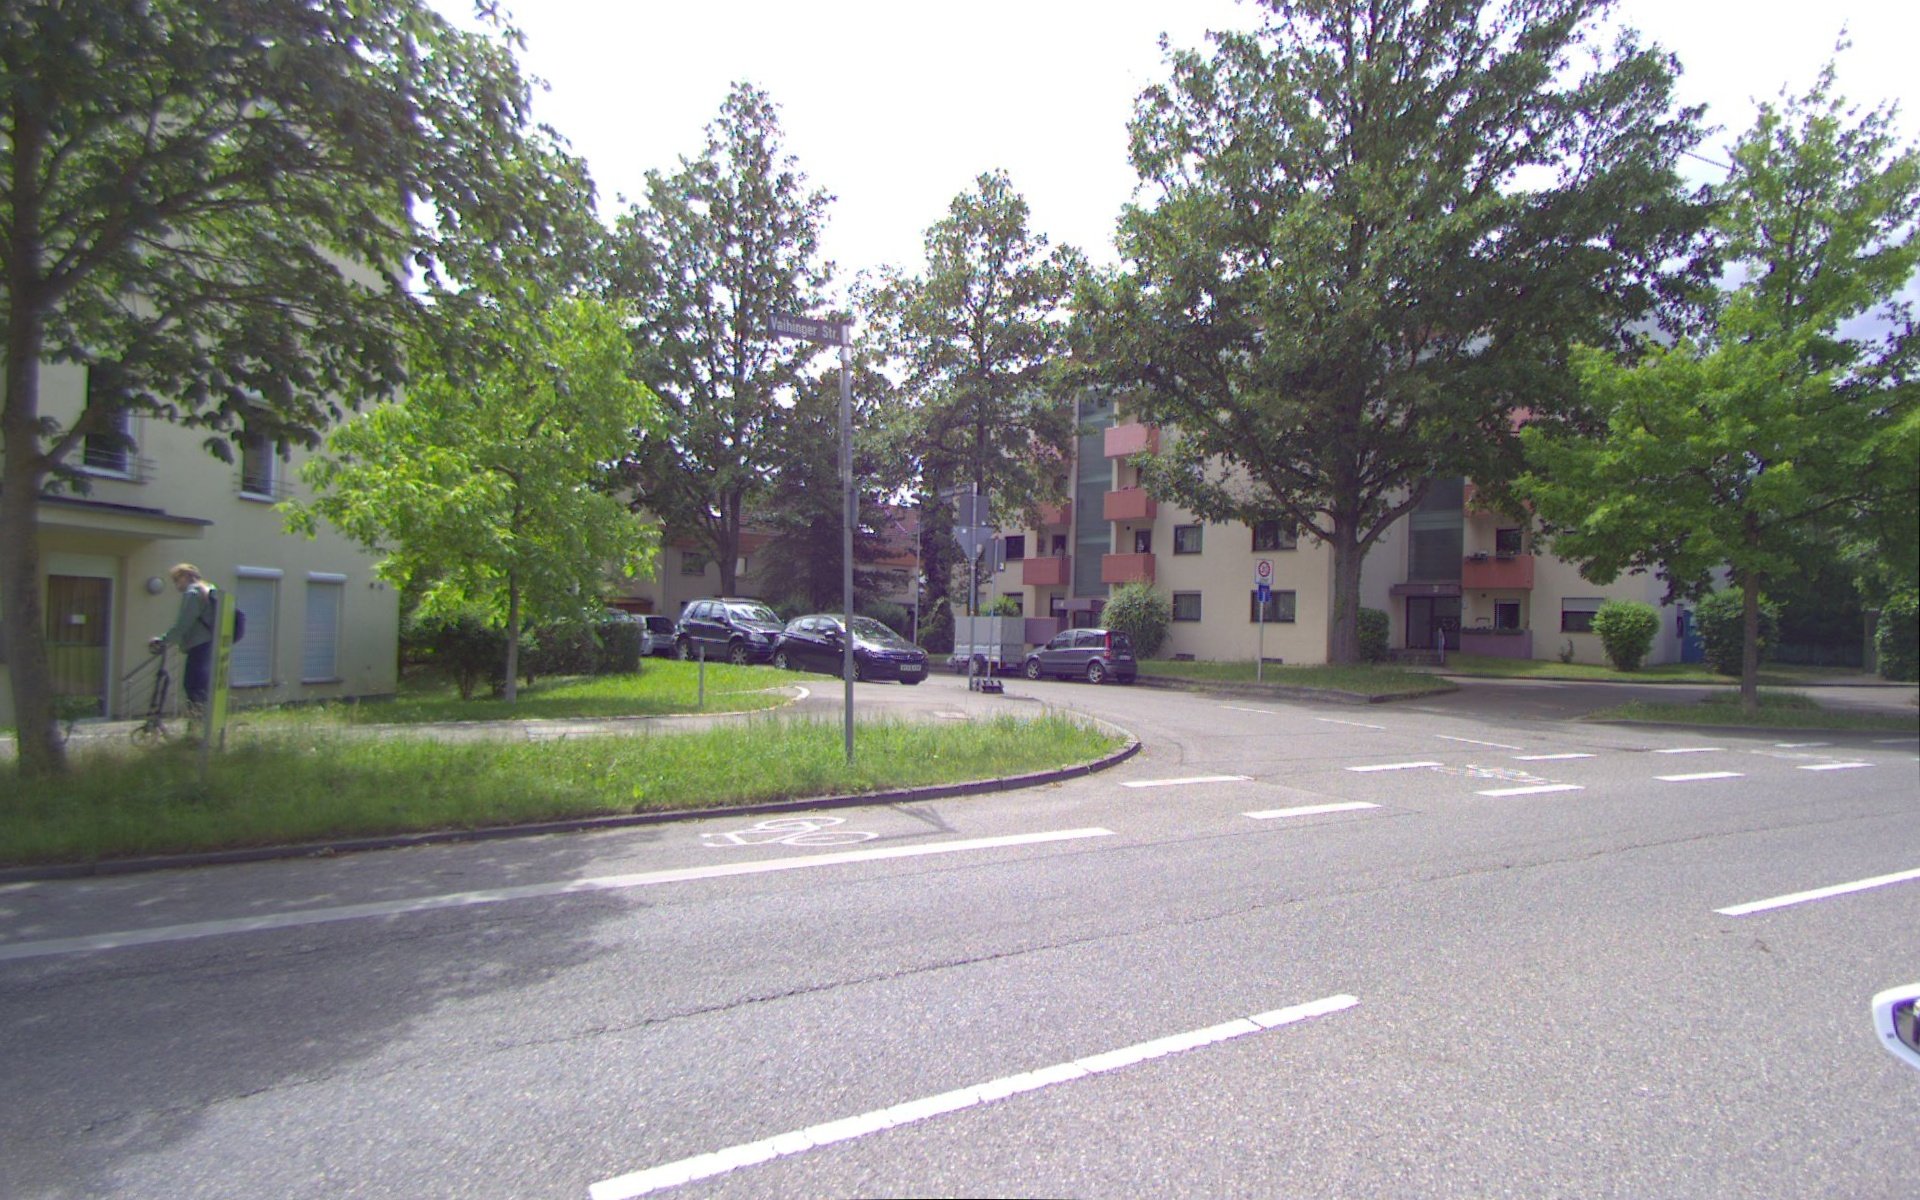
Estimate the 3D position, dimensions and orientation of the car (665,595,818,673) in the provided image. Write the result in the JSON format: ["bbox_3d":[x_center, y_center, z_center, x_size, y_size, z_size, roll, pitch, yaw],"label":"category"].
[{"bbox_3d":[-5.719,0.822,25.947,1.858,1.675,4.377,2,1,-42],"label":"car"}]

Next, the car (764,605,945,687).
[{"bbox_3d":[-2.365,0.926,21.772,1.726,1.417,4.098,2,1,-43],"label":"car"}]

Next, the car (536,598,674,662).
[{"bbox_3d":[-10.725,0.870,30.312,3.928,1.817,1.762,0,-1,30],"label":"car"}]

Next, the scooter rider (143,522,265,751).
[{"bbox_3d":[-7.071,0.330,9.439,0.785,2.040,0.673,2,1,-32],"label":"scooter rider"}]

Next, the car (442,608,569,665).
[{"bbox_3d":[-14.735,1.150,32.554,3.927,1.686,1.714,0,-1,29],"label":"car"}]

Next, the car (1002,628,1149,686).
[{"bbox_3d":[3.259,1.606,28.854,3.943,1.471,1.688,0,-3,42],"label":"car"}]

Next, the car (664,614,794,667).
[{"bbox_3d":[-8.589,1.463,37.279,4.336,1.817,2.124,0,-1,27],"label":"car"}]

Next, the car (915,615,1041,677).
[{"bbox_3d":[0.527,1.494,32.267,1.833,1.868,3.949,2,-4,-43],"label":"car"}]

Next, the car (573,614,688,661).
[{"bbox_3d":[-13.118,1.453,39.941,4.195,1.725,1.941,0,-1,27],"label":"car"}]
